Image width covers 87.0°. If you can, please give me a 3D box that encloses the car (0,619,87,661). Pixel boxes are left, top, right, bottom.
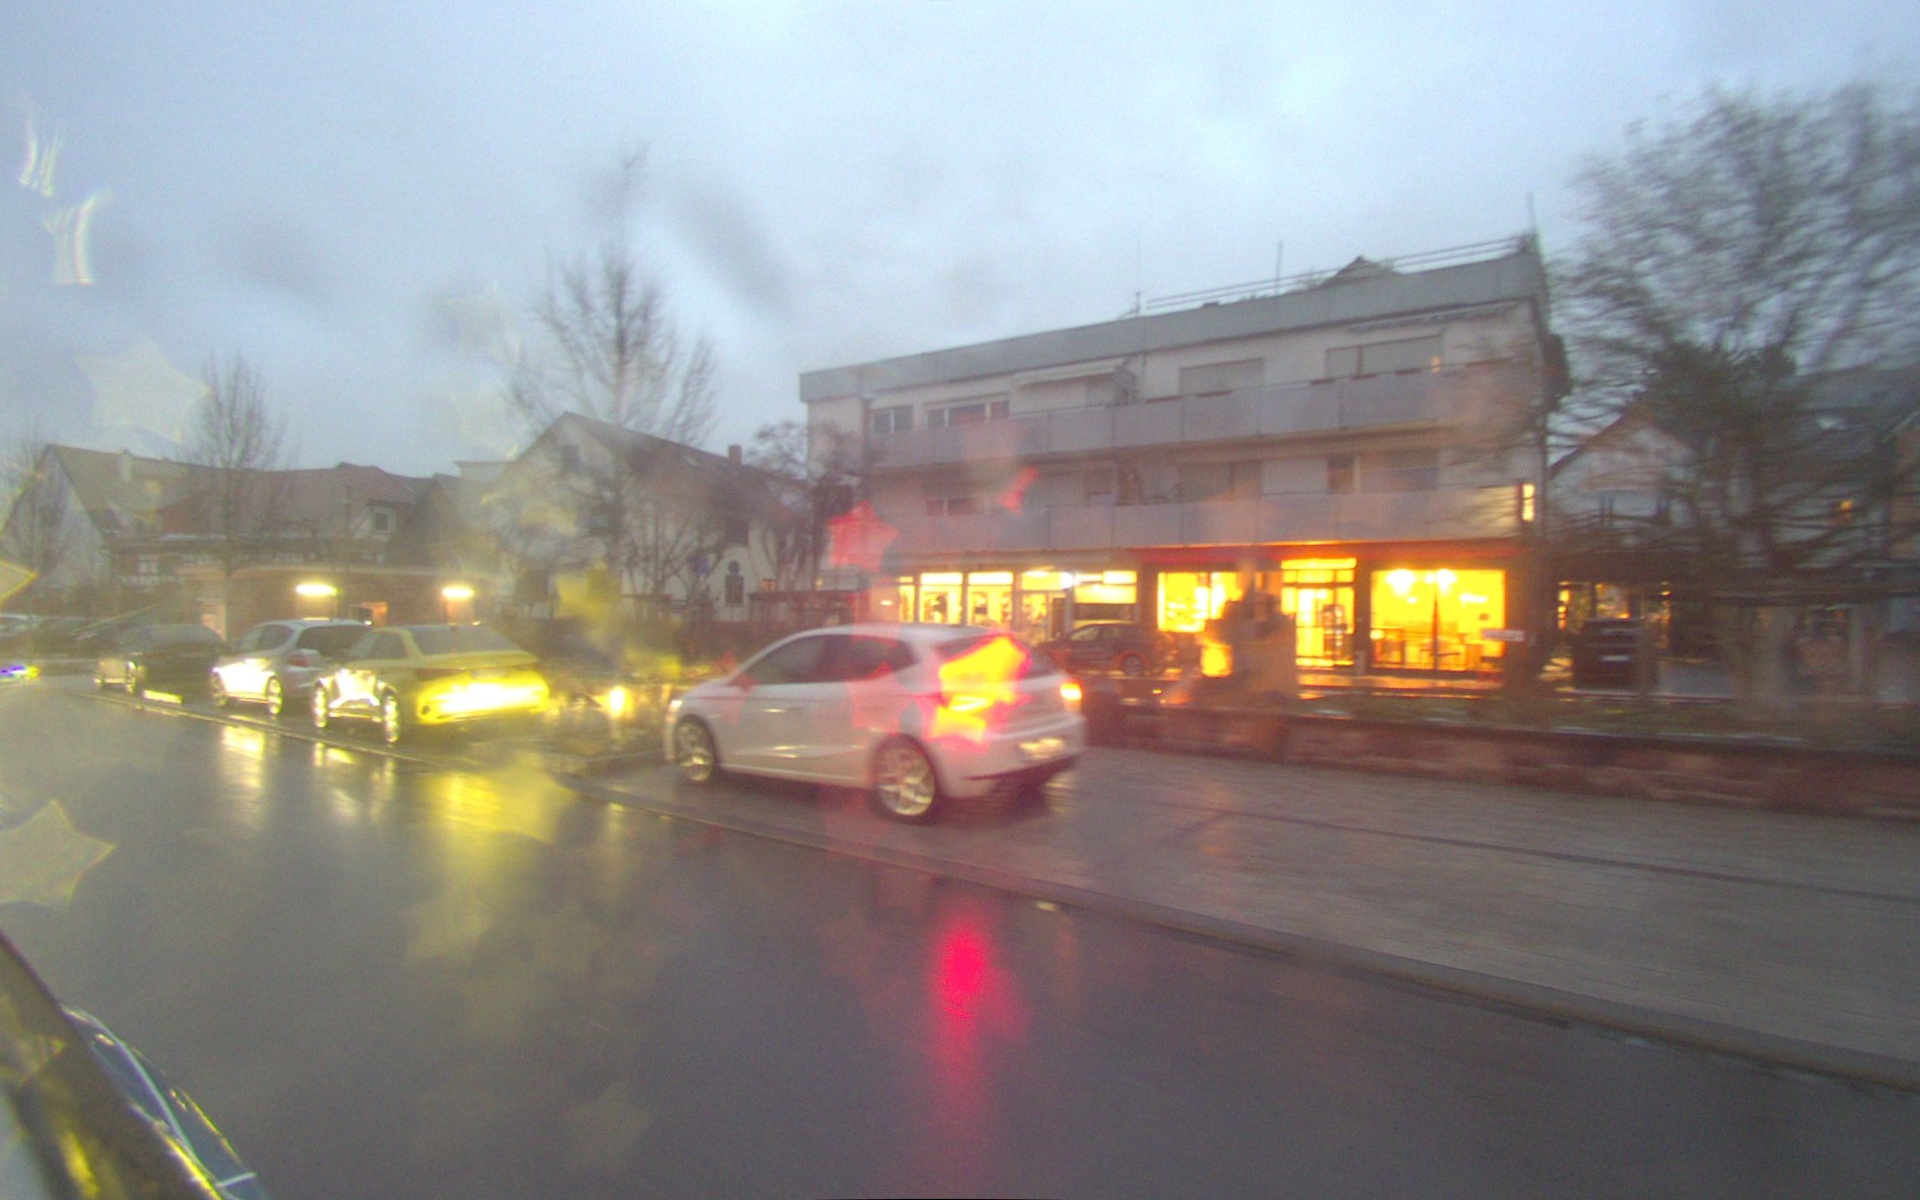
[{"bbox_3d":[-37.633,1.591,40.583,3.937,1.559,2.003,-1,0,-40],"label":"car"}]

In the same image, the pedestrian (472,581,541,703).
[{"bbox_3d":[-7.785,0.707,17.358,0.889,2.029,0.792,0,-2,-40],"label":"pedestrian"}]

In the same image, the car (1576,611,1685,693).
[{"bbox_3d":[16.476,1.243,25.045,1.992,1.858,3.958,-1,-2,30],"label":"car"}]

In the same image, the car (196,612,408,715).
[{"bbox_3d":[-11.305,1.007,17.330,3.664,1.546,1.858,-1,0,36],"label":"car"}]

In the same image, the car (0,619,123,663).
[{"bbox_3d":[-35.123,1.565,39.439,3.786,1.557,2.002,-1,0,-43],"label":"car"}]

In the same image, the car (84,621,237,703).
[{"bbox_3d":[-17.341,1.265,21.889,4.136,1.546,1.817,-1,0,40],"label":"car"}]

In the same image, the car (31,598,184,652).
[{"bbox_3d":[-29.311,0.817,34.952,3.934,1.776,1.437,0,-1,-36],"label":"car"}]

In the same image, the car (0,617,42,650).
[{"bbox_3d":[-40.552,1.409,41.702,3.941,1.309,2.001,-1,0,-45],"label":"car"}]

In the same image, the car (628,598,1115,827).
[{"bbox_3d":[-0.929,0.766,8.737,4.179,1.500,1.766,-1,0,40],"label":"car"}]

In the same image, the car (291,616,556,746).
[{"bbox_3d":[-7.348,0.983,13.667,4.374,1.442,1.677,-2,0,41],"label":"car"}]

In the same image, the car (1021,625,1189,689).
[{"bbox_3d":[3.826,1.464,26.904,3.988,1.576,1.978,-1,-2,33],"label":"car"}]
